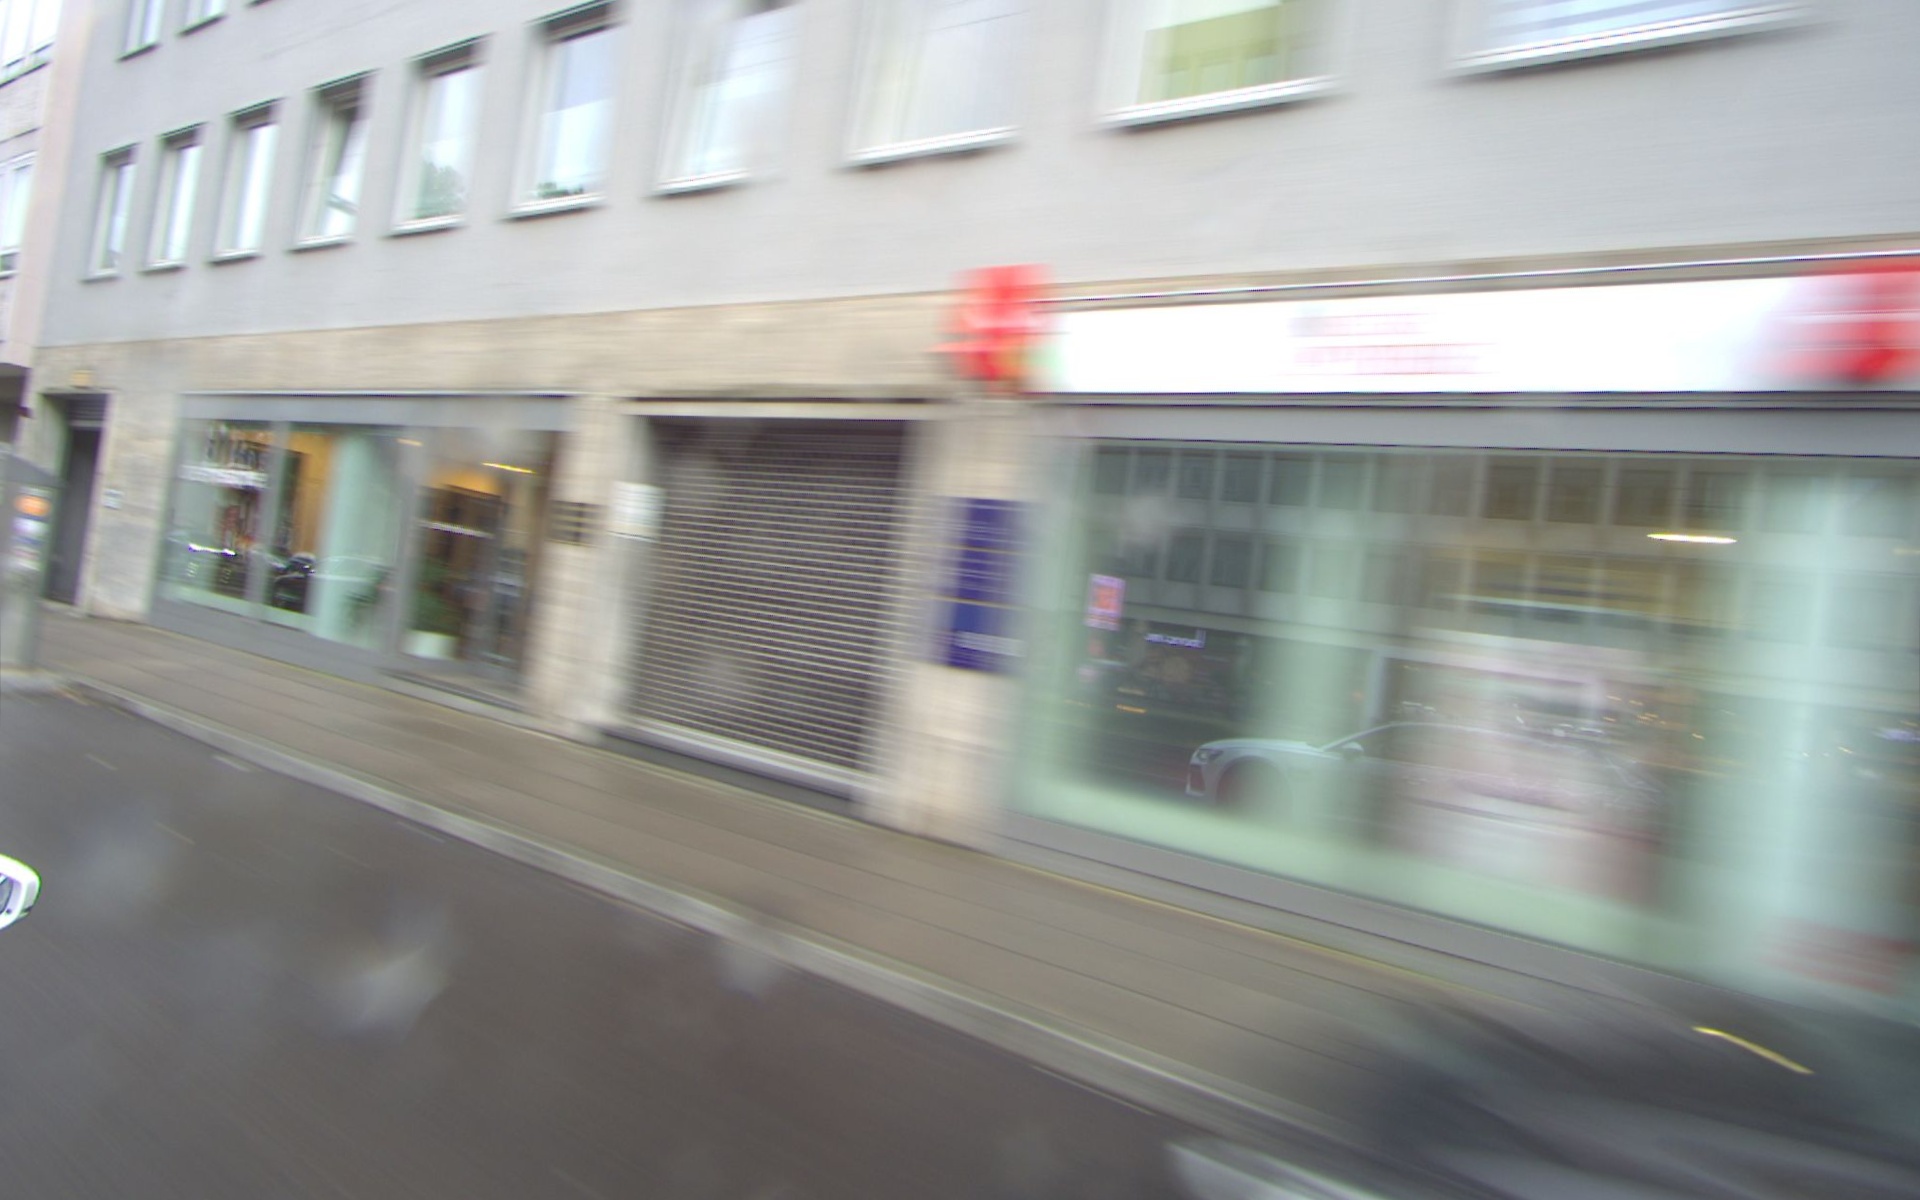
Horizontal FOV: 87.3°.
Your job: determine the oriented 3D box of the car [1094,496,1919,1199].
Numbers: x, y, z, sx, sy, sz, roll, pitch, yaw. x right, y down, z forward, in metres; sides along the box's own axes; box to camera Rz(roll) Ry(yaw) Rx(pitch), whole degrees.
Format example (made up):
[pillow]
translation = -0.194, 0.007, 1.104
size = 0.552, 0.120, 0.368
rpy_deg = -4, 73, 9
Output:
[car]
translation = 2.491, 0.933, 1.147
size = 4.201, 1.612, 1.997
rpy_deg = 6, -2, 32
